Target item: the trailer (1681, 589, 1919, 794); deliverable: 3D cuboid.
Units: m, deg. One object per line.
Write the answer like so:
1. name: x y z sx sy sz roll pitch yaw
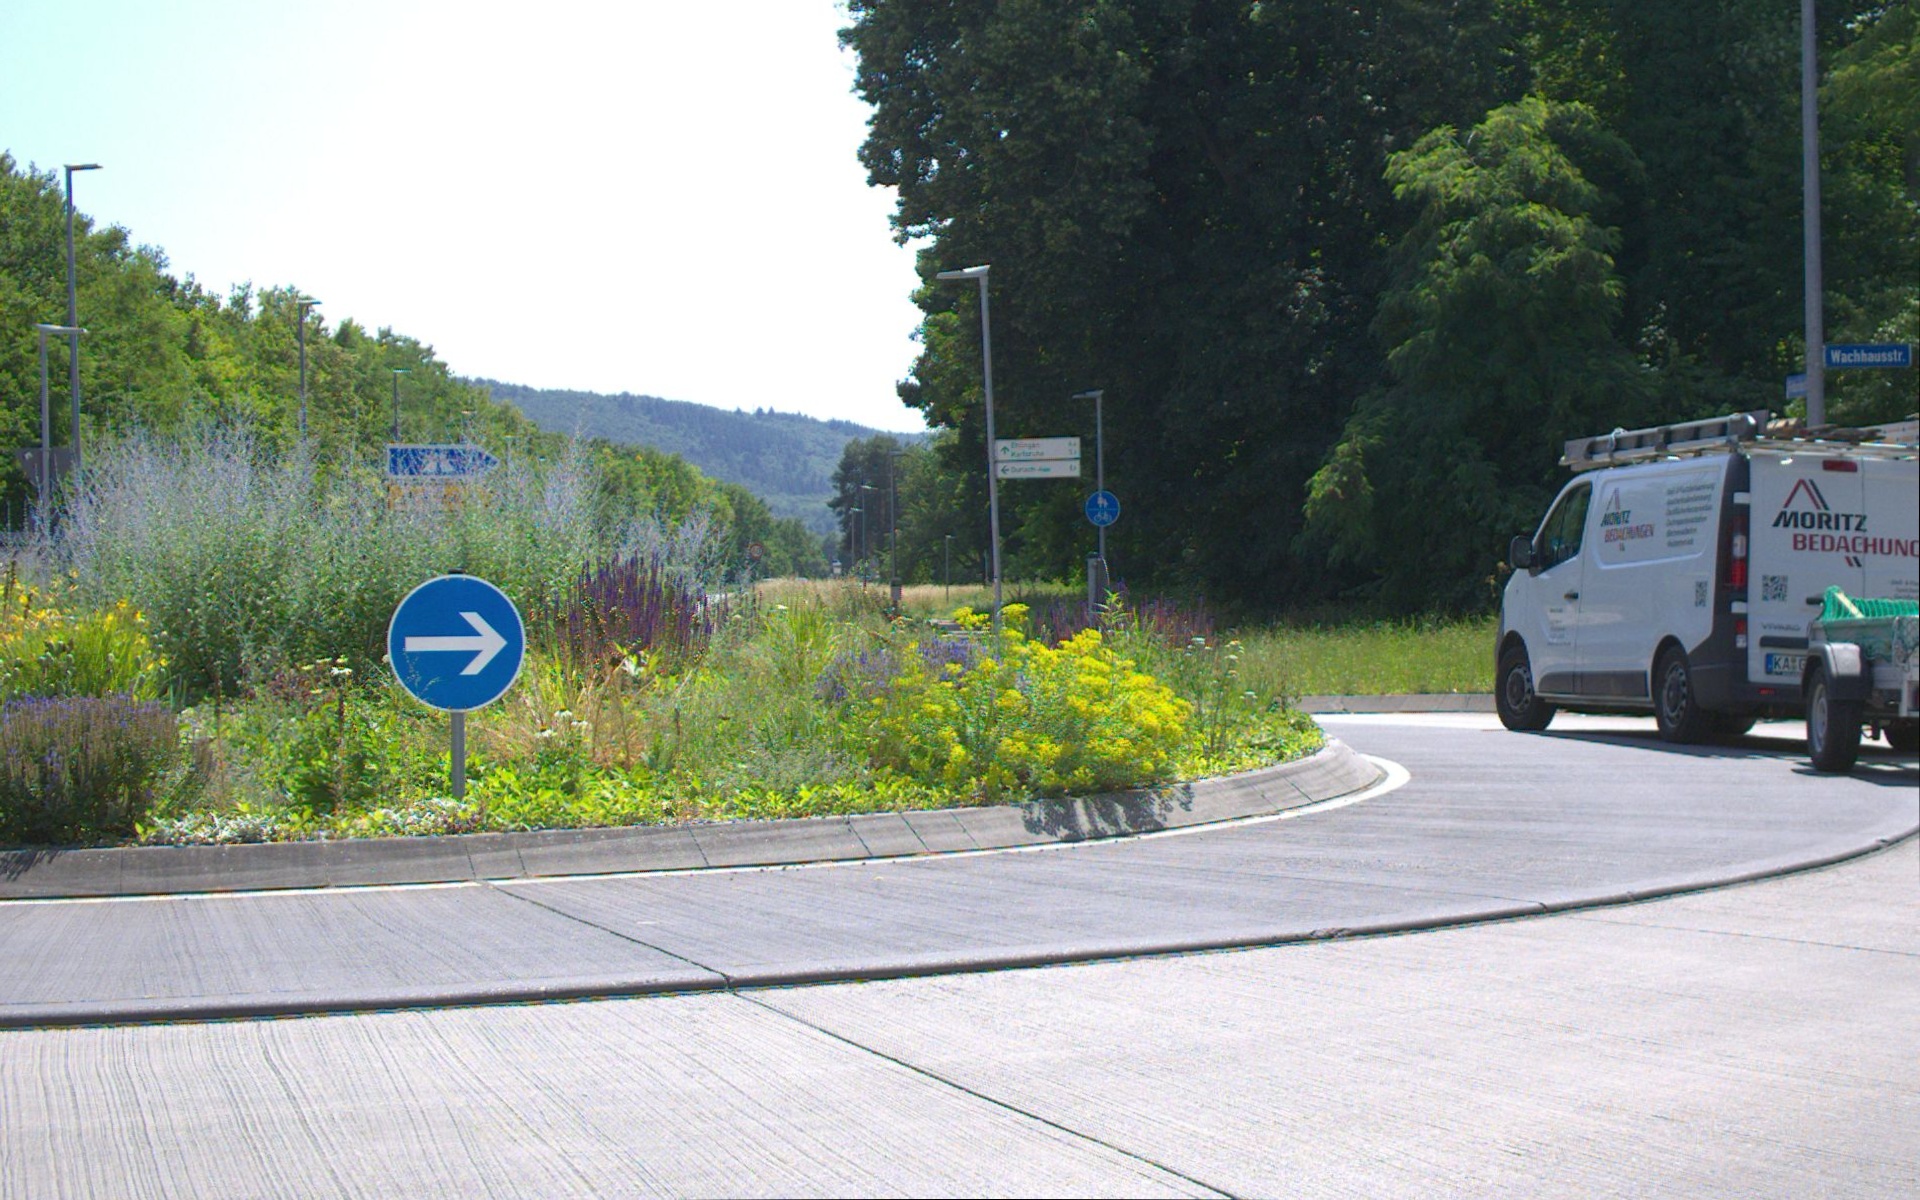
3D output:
1. trailer: 5.776 0.484 20.111 2.121 1.093 3.355 0 0 -6

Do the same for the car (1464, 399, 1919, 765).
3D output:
1. car: 5.338 -0.118 24.268 2.165 2.308 4.982 0 0 -8
